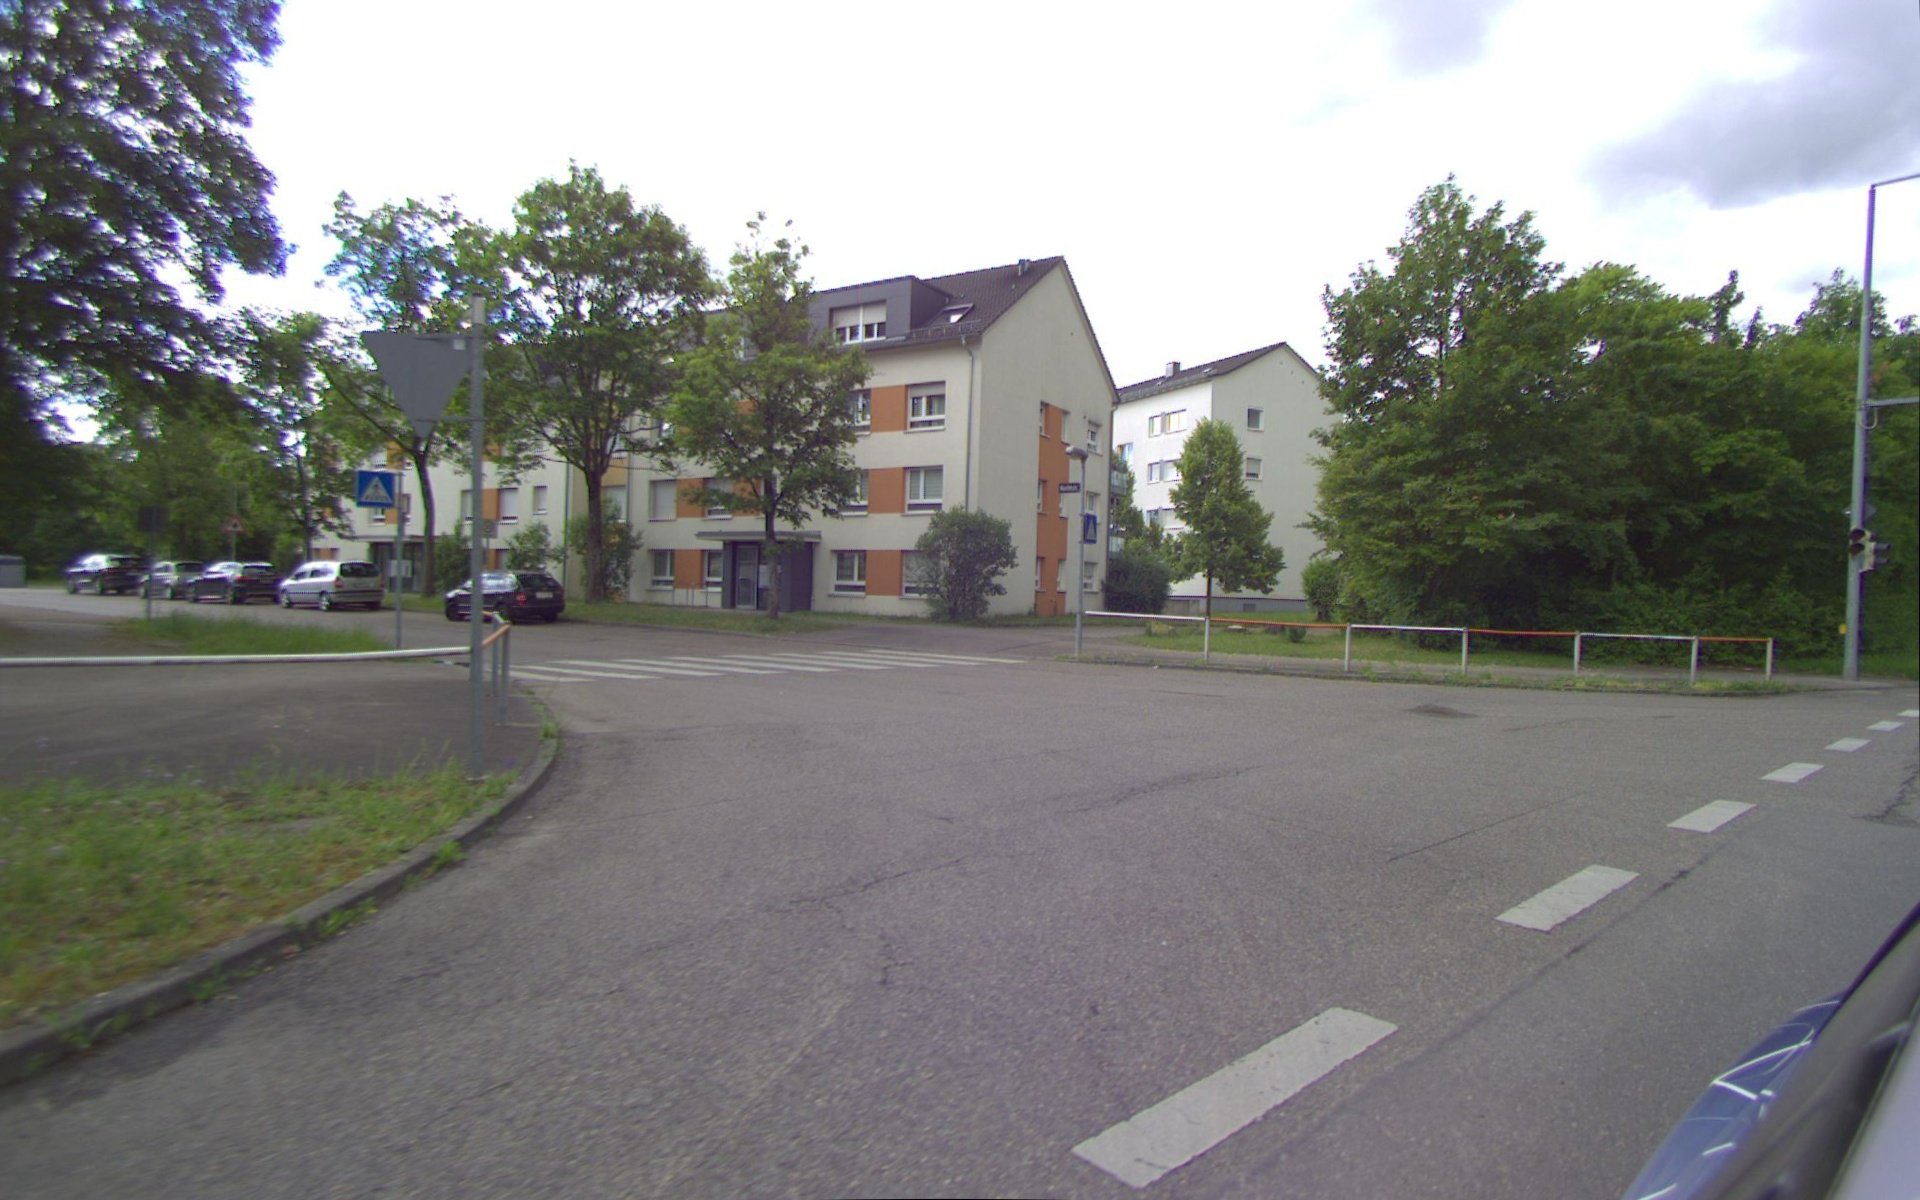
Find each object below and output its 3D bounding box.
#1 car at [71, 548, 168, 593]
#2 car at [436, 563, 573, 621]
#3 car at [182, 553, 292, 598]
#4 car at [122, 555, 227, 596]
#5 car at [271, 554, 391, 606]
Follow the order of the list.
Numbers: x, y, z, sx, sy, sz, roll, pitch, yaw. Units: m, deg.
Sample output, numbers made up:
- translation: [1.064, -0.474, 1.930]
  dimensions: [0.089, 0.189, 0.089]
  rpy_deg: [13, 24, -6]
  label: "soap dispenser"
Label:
- translation: [-35.919, -1.270, 43.227]
  dimensions: [4.292, 1.809, 2.005]
  rpy_deg: [2, 1, 33]
  label: "car"
- translation: [-12.715, -0.251, 28.223]
  dimensions: [3.742, 1.483, 1.621]
  rpy_deg: [2, 1, 30]
  label: "car"
- translation: [-26.245, -0.915, 36.728]
  dimensions: [3.923, 1.532, 1.774]
  rpy_deg: [2, 1, 29]
  label: "car"
- translation: [-30.921, -0.984, 39.812]
  dimensions: [3.929, 1.532, 2.100]
  rpy_deg: [2, 1, 33]
  label: "car"
- translation: [-20.876, -0.687, 33.564]
  dimensions: [3.966, 1.593, 1.773]
  rpy_deg: [2, 1, 30]
  label: "car"
